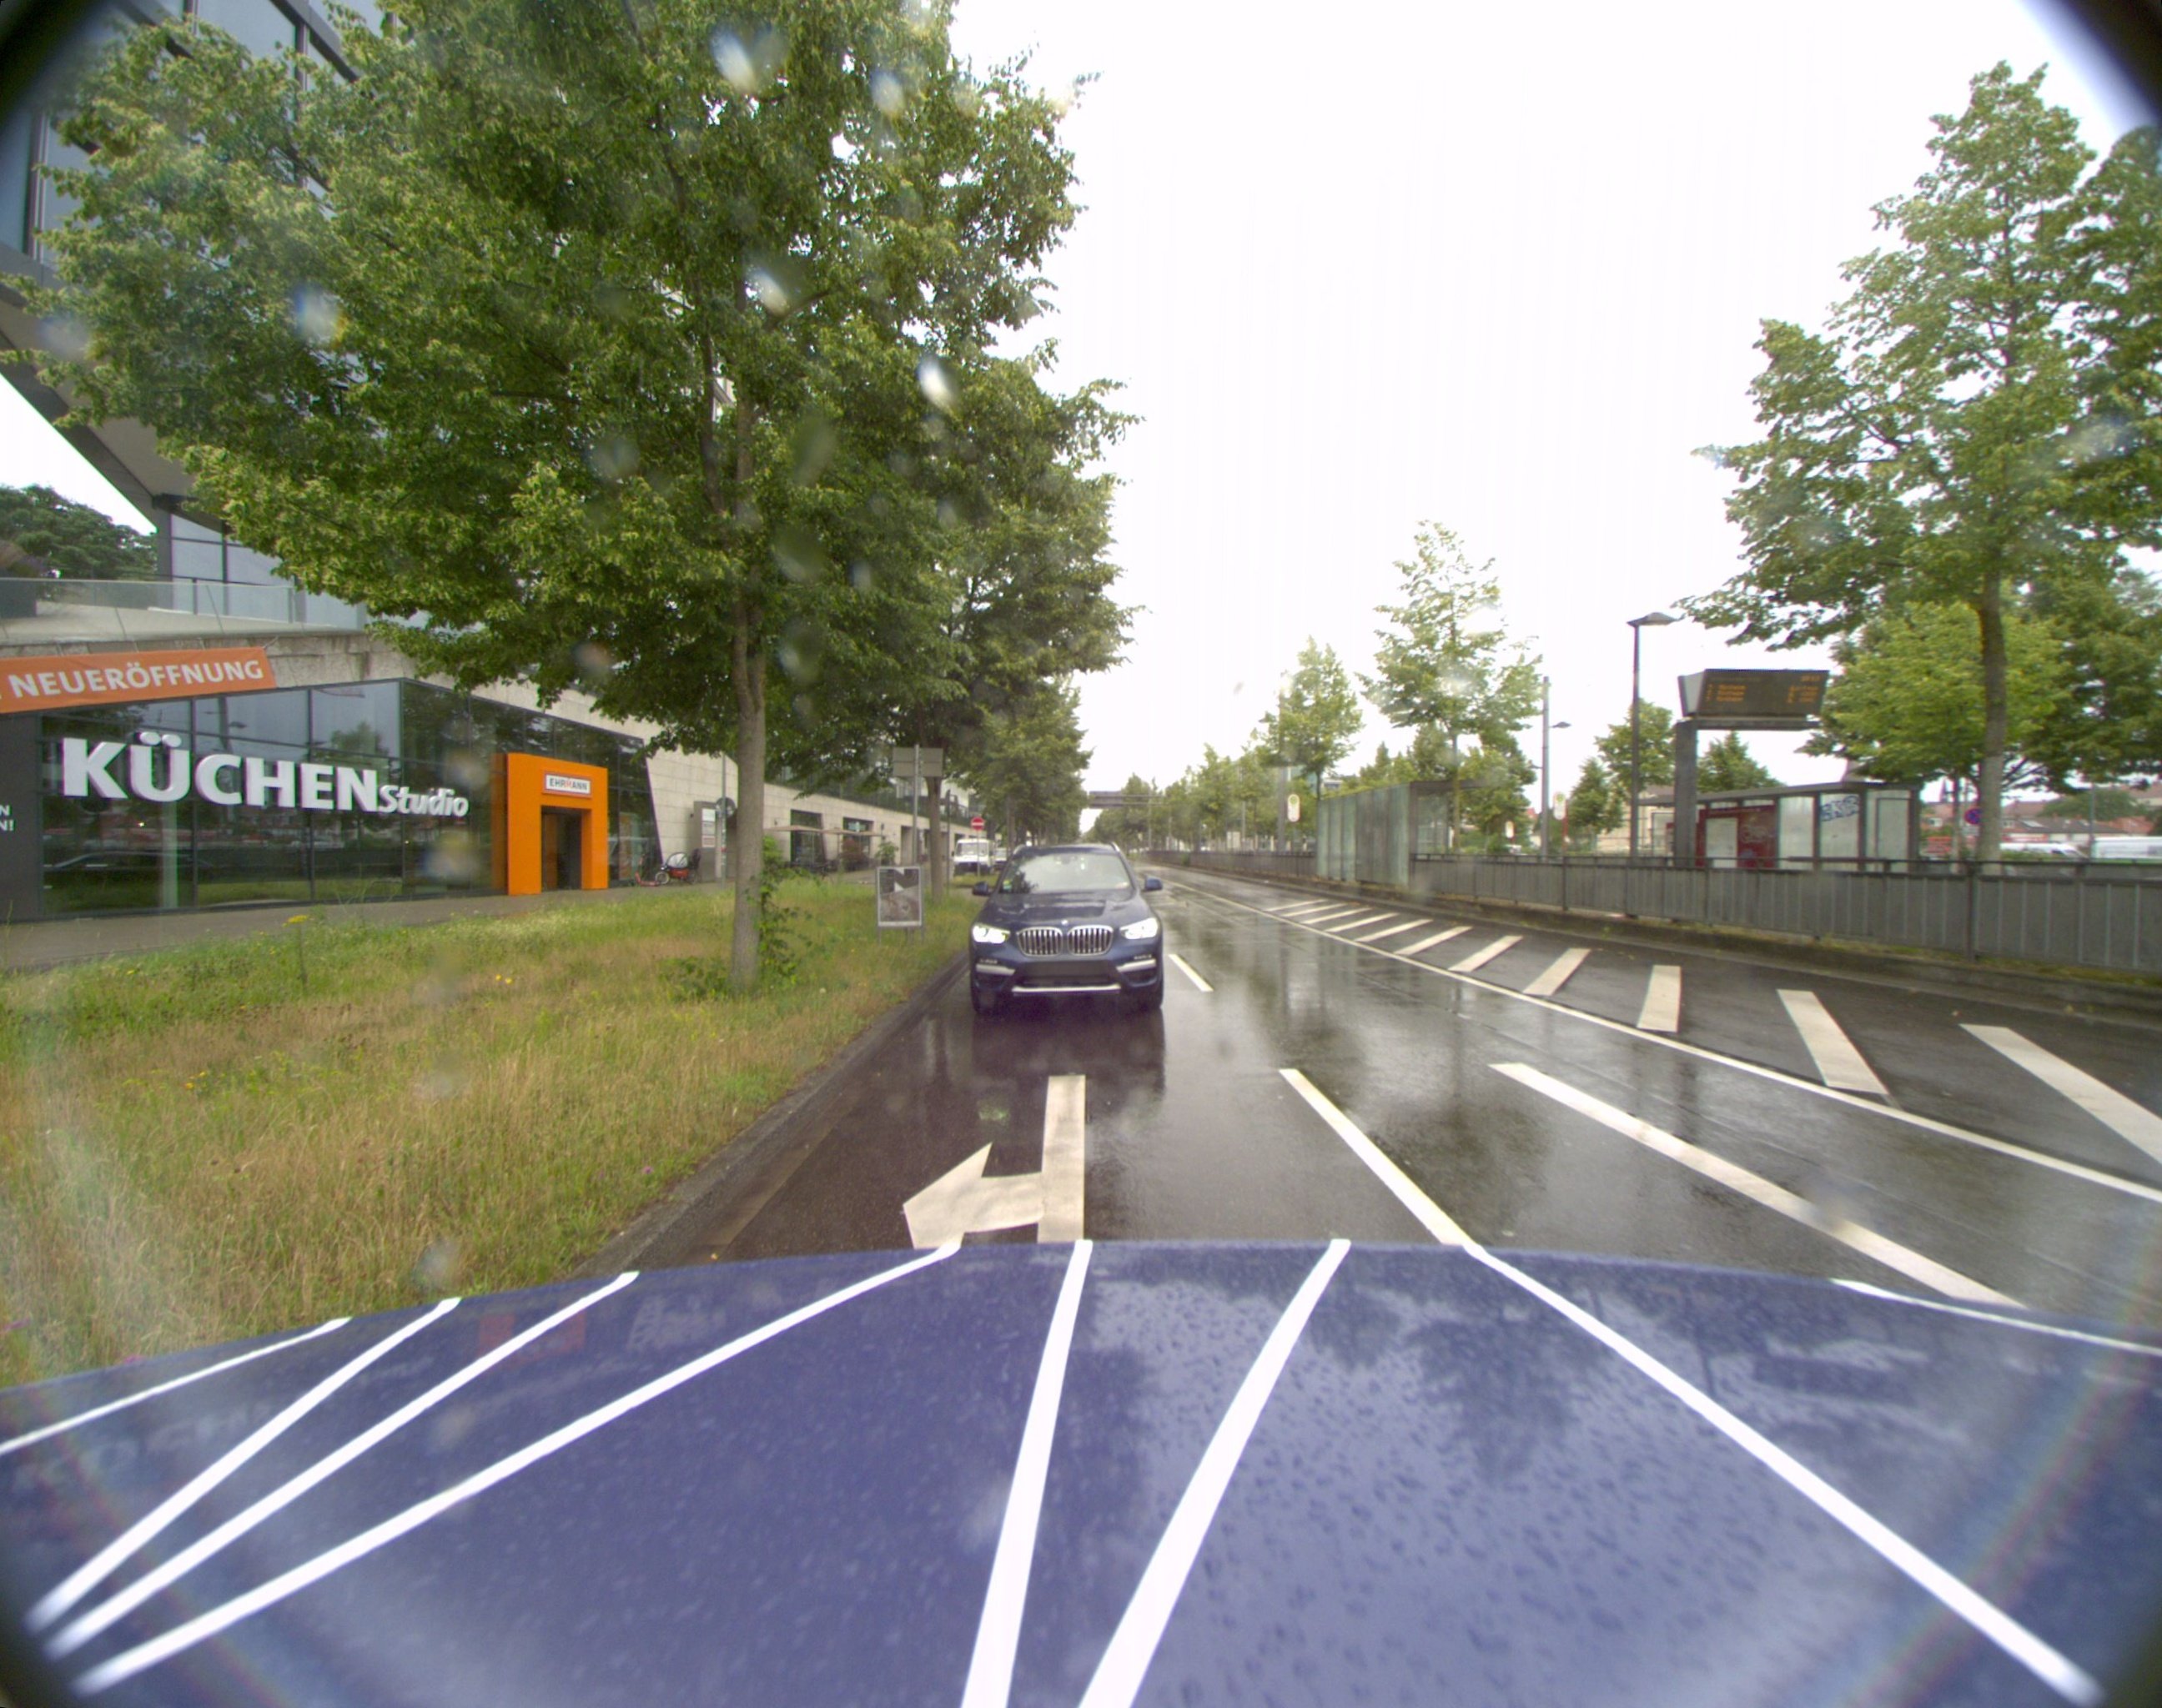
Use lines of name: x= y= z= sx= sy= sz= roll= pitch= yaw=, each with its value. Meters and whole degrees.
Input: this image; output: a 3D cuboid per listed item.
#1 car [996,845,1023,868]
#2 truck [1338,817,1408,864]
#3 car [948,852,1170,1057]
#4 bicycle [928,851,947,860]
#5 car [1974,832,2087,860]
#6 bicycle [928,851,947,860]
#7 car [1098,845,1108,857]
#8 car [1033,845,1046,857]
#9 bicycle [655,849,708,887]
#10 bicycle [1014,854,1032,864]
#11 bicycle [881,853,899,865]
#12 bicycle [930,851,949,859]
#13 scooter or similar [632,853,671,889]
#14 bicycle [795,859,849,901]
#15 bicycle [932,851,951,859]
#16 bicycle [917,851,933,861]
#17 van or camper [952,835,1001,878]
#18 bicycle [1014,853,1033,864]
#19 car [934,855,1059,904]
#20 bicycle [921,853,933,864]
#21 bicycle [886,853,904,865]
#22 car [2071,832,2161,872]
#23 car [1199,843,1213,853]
car: x=-5.818 y=0.169 z=62.175 sx=1.746 sy=1.749 sz=4.847 roll=-1 pitch=1 yaw=0
truck: x=25.490 y=-1.195 z=66.893 sx=2.693 sy=3.756 sz=9.181 roll=-2 pitch=1 yaw=1
car: x=-0.154 y=0.845 z=8.420 sx=1.816 sy=1.603 sz=3.999 roll=-2 pitch=1 yaw=1
bicycle: x=-15.815 y=0.150 z=83.611 sx=2.029 sy=0.940 sz=0.395 roll=1 pitch=1 yaw=-4
car: x=84.239 y=-0.725 z=67.575 sx=2.000 sy=2.293 sz=6.138 roll=-3 pitch=1 yaw=-9
bicycle: x=-15.859 y=0.144 z=84.234 sx=2.029 sy=0.940 sz=0.395 roll=1 pitch=1 yaw=-4
car: x=4.506 y=-0.592 z=157.781 sx=1.998 sy=2.232 sz=3.999 roll=-2 pitch=1 yaw=1
car: x=-6.042 y=-0.442 z=111.473 sx=1.659 sy=1.711 sz=3.999 roll=-2 pitch=1 yaw=0
bicycle: x=-15.475 y=0.529 z=29.513 sx=0.734 sy=1.394 sz=2.425 roll=1 pitch=0 yaw=1
bicycle: x=-5.627 y=0.478 z=73.653 sx=1.649 sy=0.940 sz=0.395 roll=-2 pitch=2 yaw=-4
bicycle: x=-15.416 y=0.402 z=61.360 sx=0.396 sy=0.940 sz=2.024 roll=-4 pitch=2 yaw=-45
bicycle: x=-15.934 y=0.117 z=85.412 sx=2.029 sy=0.940 sz=0.395 roll=1 pitch=1 yaw=-4
scooter or similar: x=-15.630 y=0.600 z=27.671 sx=0.342 sy=1.221 sz=1.242 roll=-2 pitch=2 yaw=19
bicycle: x=-8.615 y=0.865 z=25.280 sx=1.843 sy=1.338 sz=0.533 roll=-1 pitch=0 yaw=26
bicycle: x=-15.920 y=0.109 z=86.666 sx=2.029 sy=0.940 sz=0.395 roll=1 pitch=1 yaw=-4
bicycle: x=-16.333 y=0.204 z=79.686 sx=1.657 sy=0.940 sz=0.347 roll=1 pitch=2 yaw=19
van or camper: x=-5.866 y=0.104 z=43.328 sx=2.030 sy=2.279 sz=5.458 roll=-1 pitch=1 yaw=0
bicycle: x=-5.731 y=0.431 z=75.466 sx=1.882 sy=0.940 sz=0.395 roll=-2 pitch=2 yaw=-4
car: x=-2.848 y=0.768 z=24.899 sx=1.836 sy=1.412 sz=4.333 roll=-2 pitch=2 yaw=-43
bicycle: x=-13.122 y=0.384 z=64.783 sx=0.402 sy=0.940 sz=1.859 roll=-1 pitch=1 yaw=8
bicycle: x=-15.133 y=0.380 z=61.942 sx=0.396 sy=0.940 sz=2.024 roll=-4 pitch=2 yaw=-45
car: x=70.047 y=-0.154 z=49.511 sx=1.999 sy=2.448 sz=6.744 roll=-2 pitch=1 yaw=-4
car: x=25.323 y=-1.222 z=153.953 sx=1.999 sy=1.736 sz=3.998 roll=-2 pitch=1 yaw=-2
